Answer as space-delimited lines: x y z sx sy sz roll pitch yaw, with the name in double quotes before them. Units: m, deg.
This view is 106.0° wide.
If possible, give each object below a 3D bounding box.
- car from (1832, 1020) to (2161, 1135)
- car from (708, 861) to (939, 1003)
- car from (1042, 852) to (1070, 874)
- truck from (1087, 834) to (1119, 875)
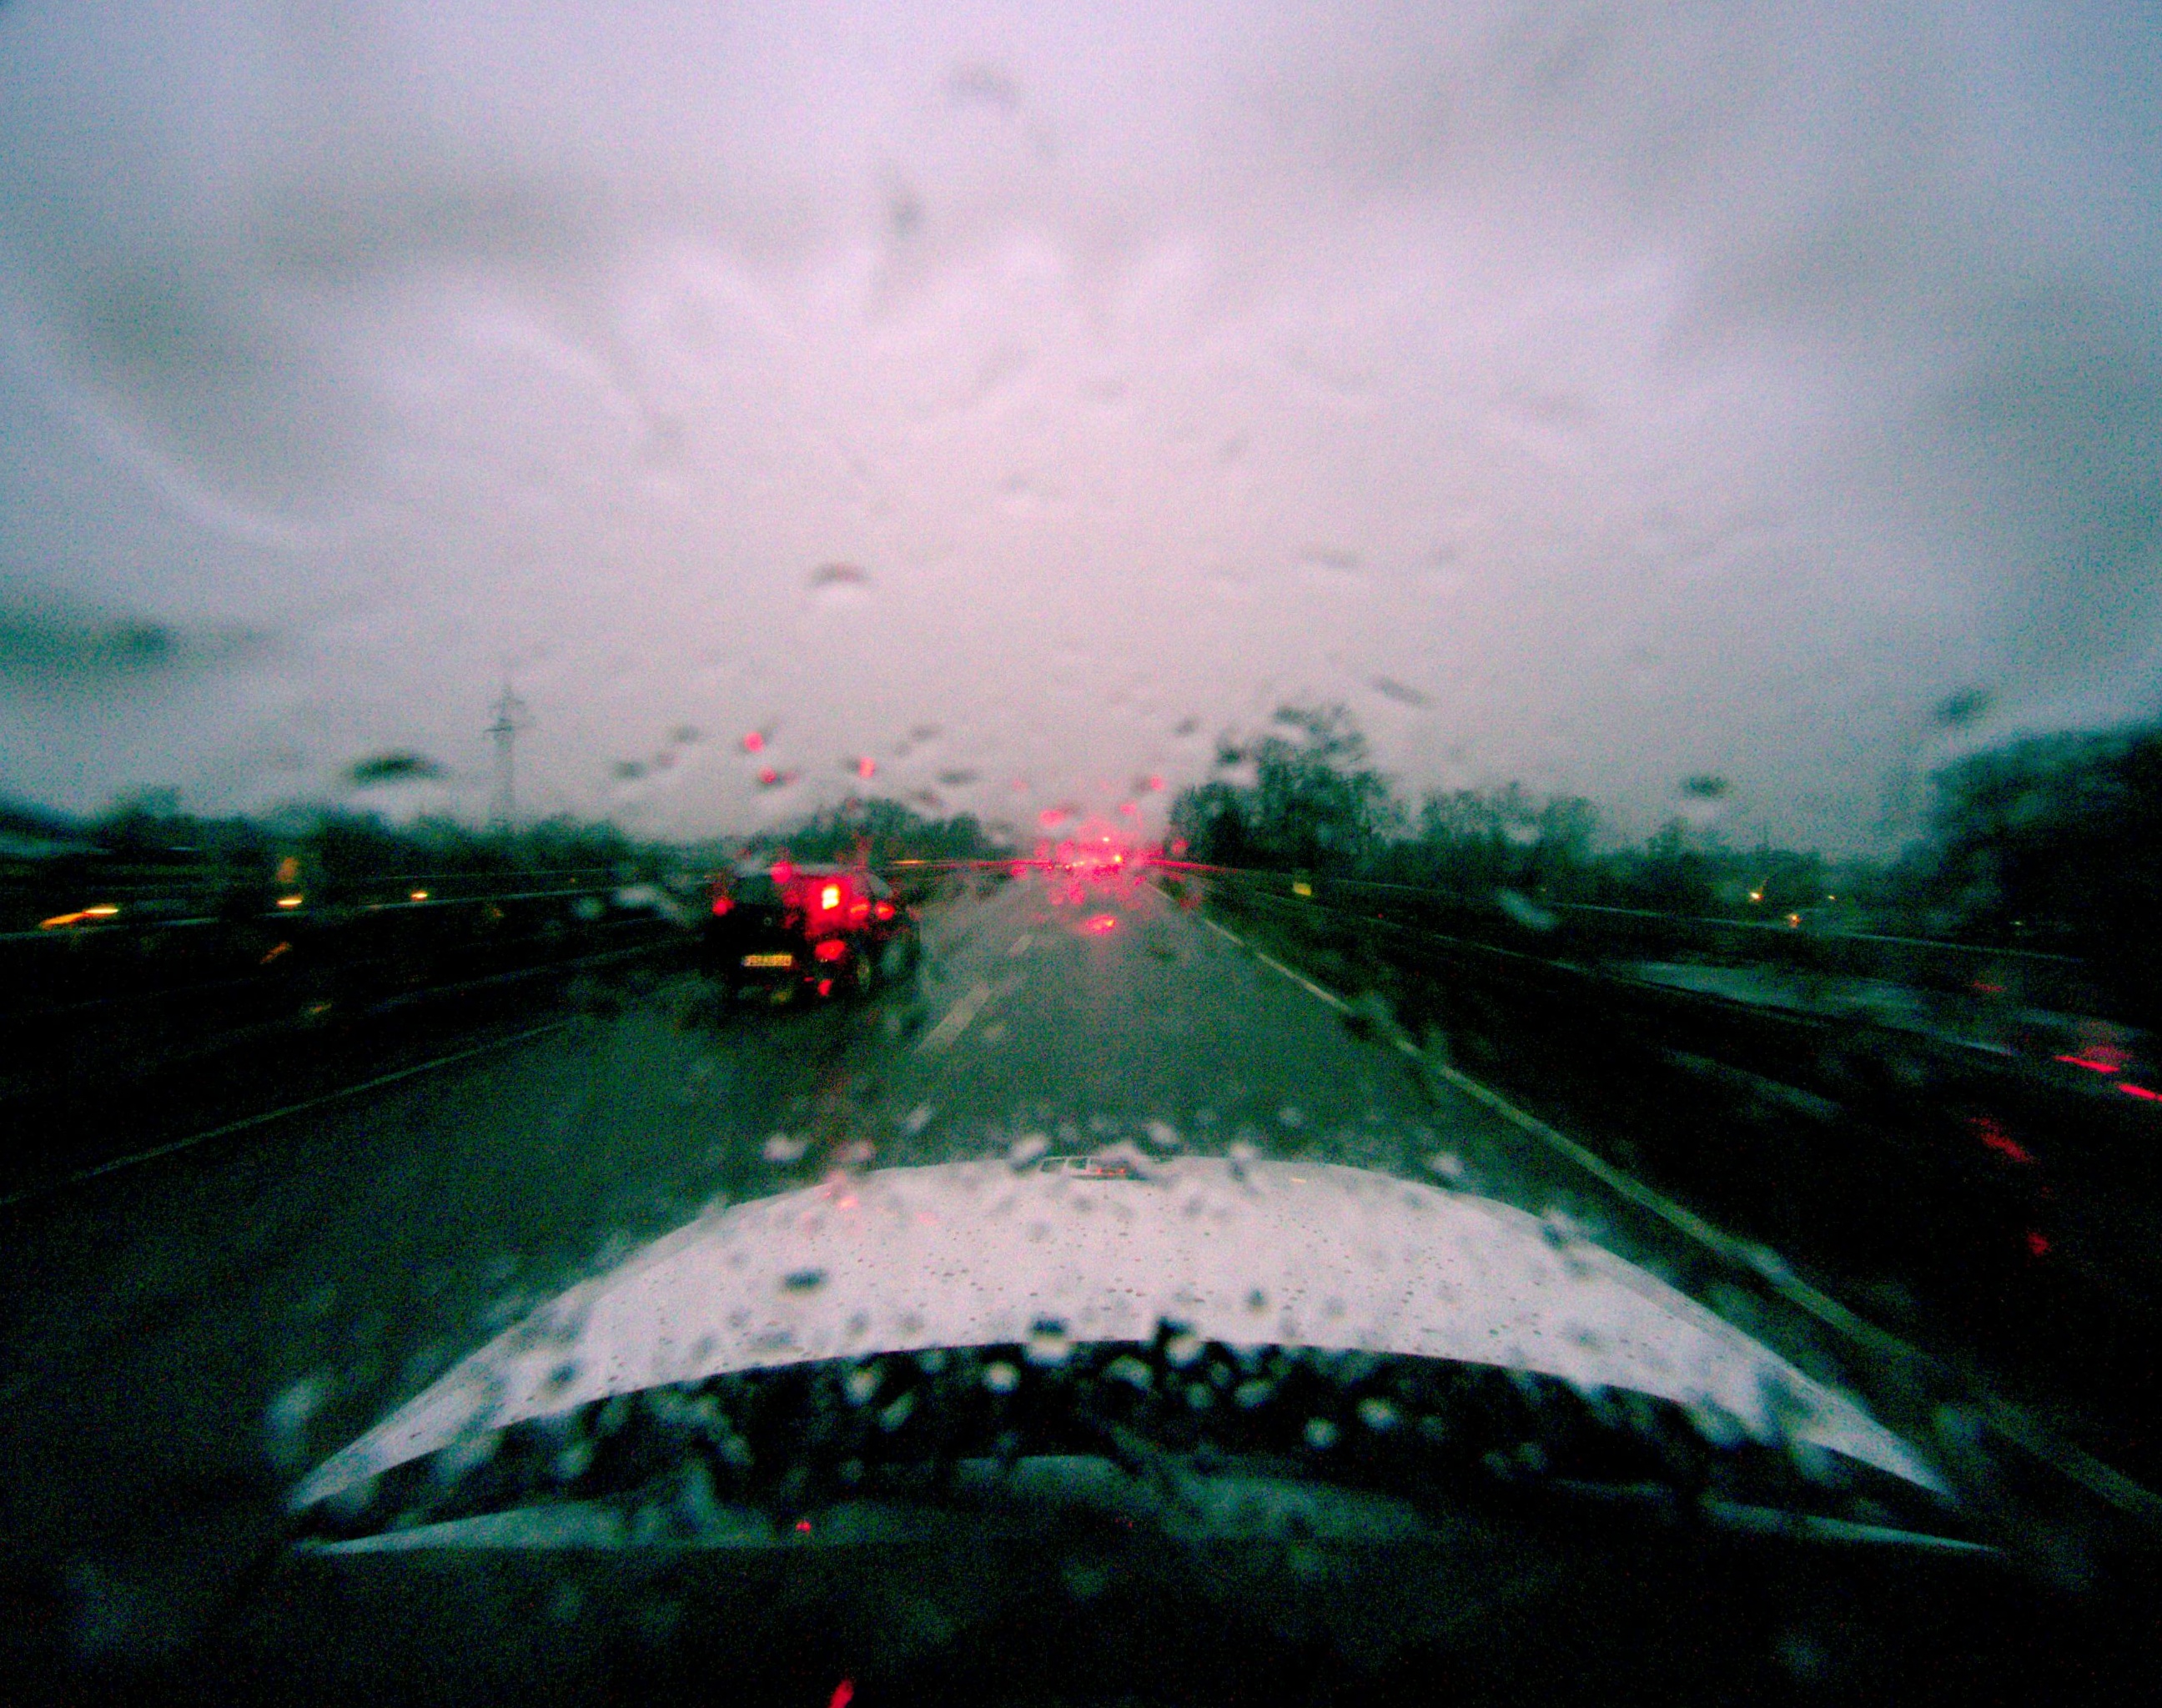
"car" 16.322 3.927 14.828 1.670 1.282 3.999 5 -6 2
"car" -3.037 0.840 10.484 1.620 1.392 3.999 -3 -1 0
"car" -1.776 0.671 59.443 1.828 1.537 4.000 0 -2 1
"truck" 1.762 0.092 65.270 2.374 2.909 4.674 -1 -4 1
